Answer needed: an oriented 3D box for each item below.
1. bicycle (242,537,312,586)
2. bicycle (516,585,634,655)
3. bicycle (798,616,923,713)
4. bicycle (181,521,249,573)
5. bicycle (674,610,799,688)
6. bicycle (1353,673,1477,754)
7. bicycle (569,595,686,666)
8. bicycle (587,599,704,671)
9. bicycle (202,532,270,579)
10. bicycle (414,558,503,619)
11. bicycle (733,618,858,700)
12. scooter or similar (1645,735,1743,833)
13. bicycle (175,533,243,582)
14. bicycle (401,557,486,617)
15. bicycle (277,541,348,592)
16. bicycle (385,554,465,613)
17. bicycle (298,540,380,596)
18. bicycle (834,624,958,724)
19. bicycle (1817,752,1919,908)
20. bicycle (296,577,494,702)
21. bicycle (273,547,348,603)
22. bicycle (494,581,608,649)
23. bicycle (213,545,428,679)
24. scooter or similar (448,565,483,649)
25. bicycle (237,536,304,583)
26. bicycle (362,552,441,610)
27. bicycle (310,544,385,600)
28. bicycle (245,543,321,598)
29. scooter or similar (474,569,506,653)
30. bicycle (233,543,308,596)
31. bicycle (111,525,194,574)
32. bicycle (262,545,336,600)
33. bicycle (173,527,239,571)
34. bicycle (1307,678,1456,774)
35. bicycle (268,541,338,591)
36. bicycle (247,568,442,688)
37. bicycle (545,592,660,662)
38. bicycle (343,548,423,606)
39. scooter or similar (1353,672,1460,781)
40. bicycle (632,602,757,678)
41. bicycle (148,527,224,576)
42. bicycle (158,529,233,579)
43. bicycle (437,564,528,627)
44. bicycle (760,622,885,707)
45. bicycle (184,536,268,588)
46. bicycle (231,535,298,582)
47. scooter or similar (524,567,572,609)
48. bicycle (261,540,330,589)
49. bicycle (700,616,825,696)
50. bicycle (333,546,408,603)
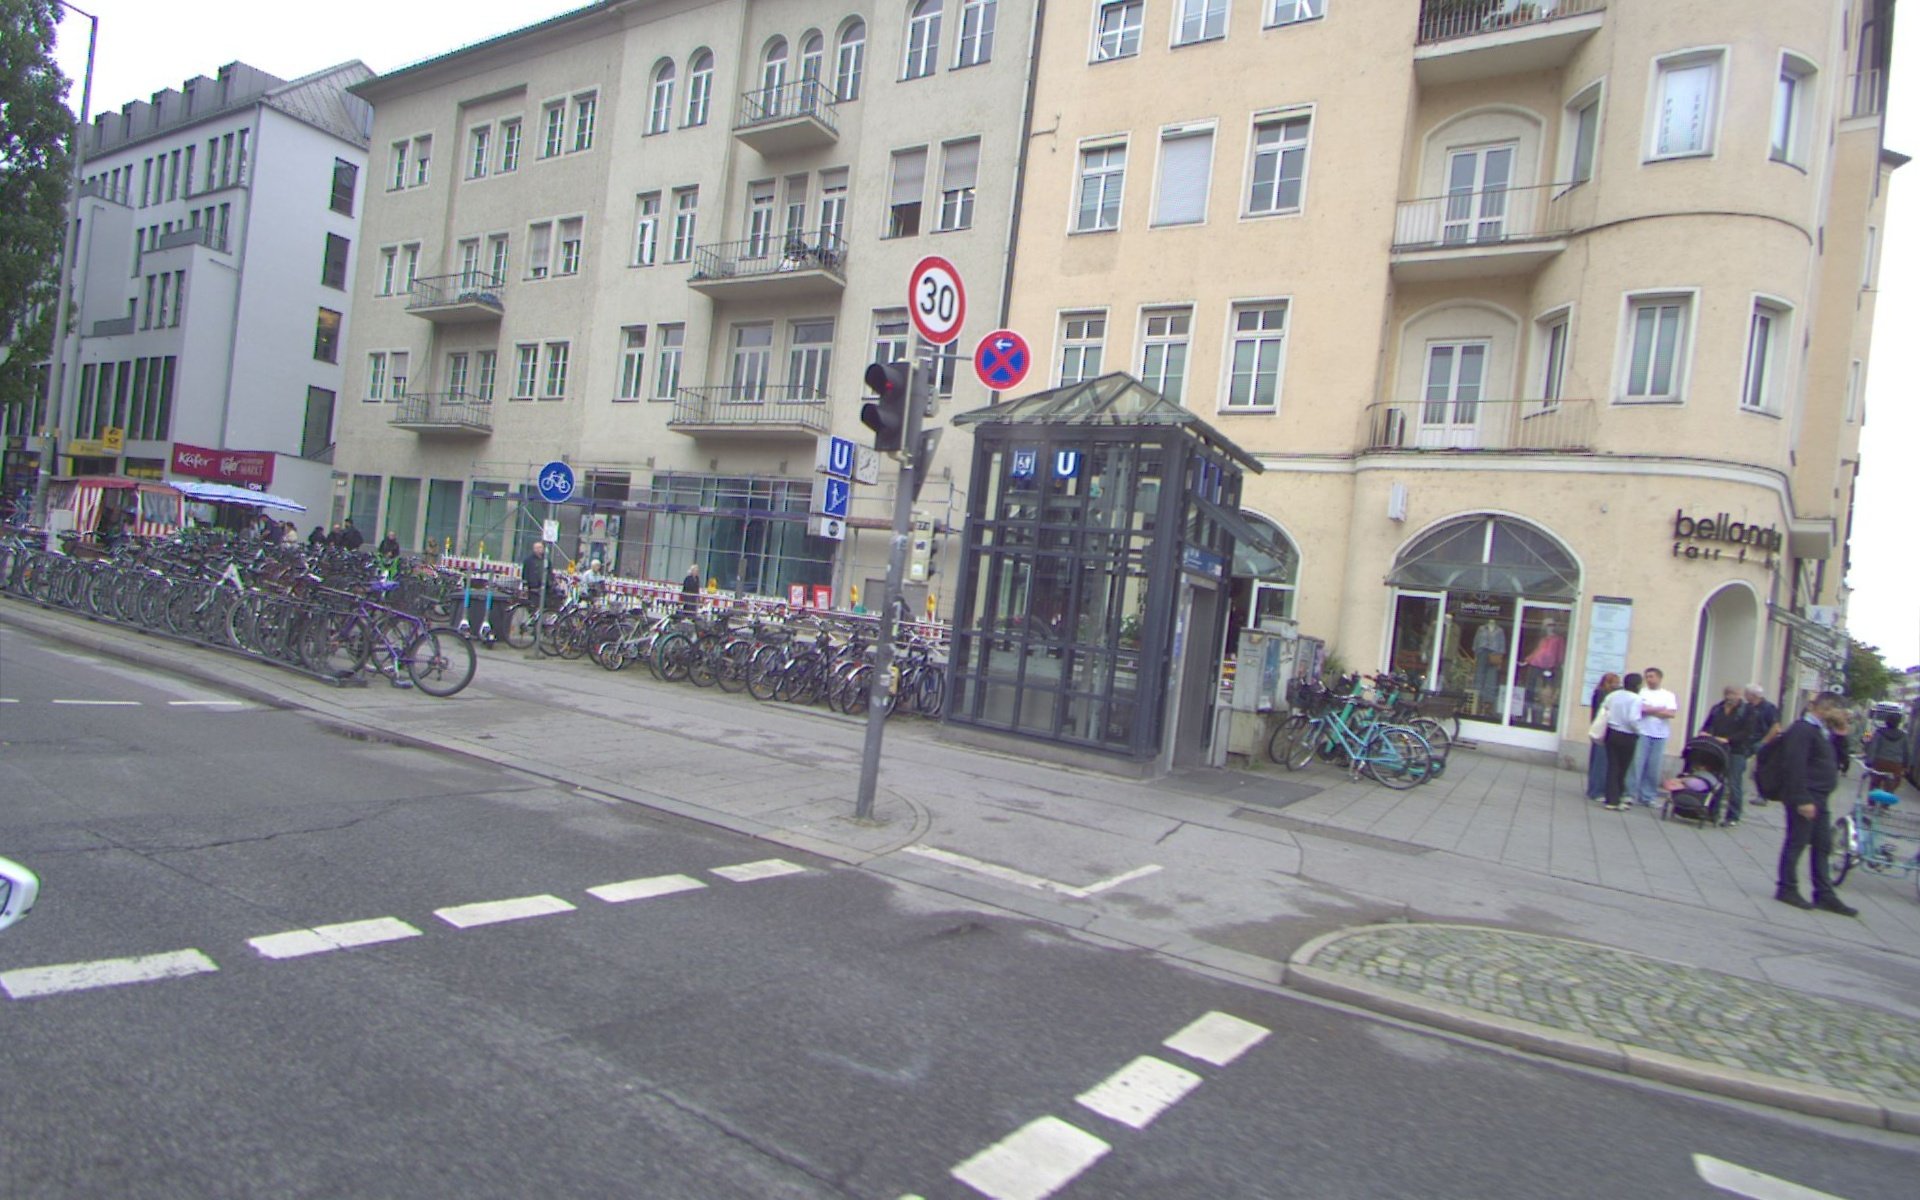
[{"bbox_3d":[-15.867,-0.880,23.398,0.363,0.994,1.246,7,0,29],"label":"bicycle"},{"bbox_3d":[-6.088,0.337,16.015,0.445,0.976,1.756,7,0,32],"label":"bicycle"},{"bbox_3d":[-1.232,0.828,12.862,0.500,1.108,1.840,7,0,30],"label":"bicycle"},{"bbox_3d":[-18.706,-1.318,25.273,0.363,1.154,1.245,7,1,30],"label":"bicycle"},{"bbox_3d":[-3.093,0.706,14.106,0.500,0.976,1.840,7,0,30],"label":"bicycle"},{"bbox_3d":[7.873,1.941,17.455,1.833,1.103,0.495,7,1,26],"label":"bicycle"},{"bbox_3d":[-5.058,0.496,15.415,0.445,0.976,1.757,7,0,30],"label":"bicycle"},{"bbox_3d":[-4.680,0.547,15.088,0.445,0.976,1.757,7,0,30],"label":"bicycle"},{"bbox_3d":[-17.734,-1.073,24.660,0.363,0.994,1.245,7,0,30],"label":"bicycle"},{"bbox_3d":[-10.090,-0.212,20.301,0.443,1.088,1.553,7,0,27],"label":"bicycle"},{"bbox_3d":[-2.160,0.798,13.467,0.500,0.976,1.840,7,0,30],"label":"bicycle"},{"bbox_3d":[8.792,2.196,12.045,0.815,1.007,0.587,7,3,-36],"label":"scooter or similar"},{"bbox_3d":[-16.802,-0.943,22.527,0.362,0.975,1.229,7,0,10],"label":"bicycle"},{"bbox_3d":[-10.539,-0.244,20.564,0.363,1.088,1.554,7,0,25],"label":"bicycle"},{"bbox_3d":[-14.385,-0.726,22.382,0.363,0.994,1.246,7,0,25],"label":"bicycle"},{"bbox_3d":[-11.013,-0.327,20.757,0.363,1.088,1.430,7,0,25],"label":"bicycle"},{"bbox_3d":[-13.724,-0.685,22.285,0.363,1.088,1.504,7,0,25],"label":"bicycle"},{"bbox_3d":[-0.755,0.922,12.586,0.500,1.108,1.840,7,0,30],"label":"bicycle"},{"bbox_3d":[8.682,2.121,9.552,0.516,1.175,1.568,9,2,34],"label":"bicycle"},{"bbox_3d":[-5.656,0.394,10.139,1.575,1.041,0.498,7,1,-11],"label":"bicycle"},{"bbox_3d":[-12.955,-0.492,20.091,0.364,0.975,1.133,8,1,37],"label":"bicycle"},{"bbox_3d":[-6.641,0.266,16.408,0.363,0.976,1.756,7,0,32],"label":"bicycle"},{"bbox_3d":[-6.896,0.137,10.932,1.777,1.213,0.557,7,1,-15],"label":"bicycle"},{"bbox_3d":[-7.690,0.093,15.622,0.360,1.191,1.337,6,1,-27],"label":"scooter or similar"},{"bbox_3d":[-16.312,-0.947,23.826,0.362,0.994,1.247,7,0,23],"label":"bicycle"},{"bbox_3d":[-11.703,-0.379,21.115,0.363,1.088,1.430,7,0,25],"label":"bicycle"},{"bbox_3d":[-13.245,-0.587,21.792,0.363,1.088,1.331,7,0,25],"label":"bicycle"},{"bbox_3d":[-13.872,-0.591,20.638,0.363,0.975,1.181,7,1,36],"label":"bicycle"},{"bbox_3d":[-7.293,0.149,15.595,0.297,1.191,1.268,6,1,-27],"label":"scooter or similar"},{"bbox_3d":[-14.326,-0.627,20.918,0.363,0.975,1.182,7,1,30],"label":"bicycle"},{"bbox_3d":[-19.154,-1.189,23.896,0.364,0.975,1.431,8,1,37],"label":"bicycle"},{"bbox_3d":[-13.328,-0.537,20.306,0.364,0.975,1.133,8,1,37],"label":"bicycle"},{"bbox_3d":[-19.256,-1.290,25.711,0.363,0.975,1.245,7,0,30],"label":"bicycle"},{"bbox_3d":[6.061,1.795,14.546,1.831,1.072,0.496,7,1,17],"label":"bicycle"},{"bbox_3d":[-14.850,-0.758,22.777,0.363,0.994,1.246,7,0,25],"label":"bicycle"},{"bbox_3d":[-6.403,0.291,10.520,1.575,1.041,0.498,7,1,-11],"label":"bicycle"},{"bbox_3d":[-5.582,0.445,15.803,0.445,0.976,1.757,7,0,30],"label":"bicycle"},{"bbox_3d":[-12.230,-0.480,21.359,0.363,1.088,1.430,7,0,25],"label":"bicycle"},{"bbox_3d":[5.849,1.646,13.215,1.133,1.242,0.288,7,1,23],"label":"scooter or similar"},{"bbox_3d":[-3.790,0.603,14.512,0.500,0.976,1.840,7,0,30],"label":"bicycle"},{"bbox_3d":[-17.850,-1.103,23.221,0.363,0.975,1.261,7,1,35],"label":"bicycle"},{"bbox_3d":[-17.448,-1.049,22.975,0.364,0.975,1.259,8,1,41],"label":"bicycle"},{"bbox_3d":[-9.508,-0.073,20.085,0.444,1.088,1.551,7,0,33],"label":"bicycle"},{"bbox_3d":[-1.754,0.844,13.131,0.500,0.976,1.840,7,0,30],"label":"bicycle"},{"bbox_3d":[-15.865,-0.815,21.776,0.363,0.975,1.405,7,0,27],"label":"bicycle"},{"bbox_3d":[-16.690,-0.988,24.149,0.362,0.994,1.247,7,0,23],"label":"bicycle"},{"bbox_3d":[-10.843,-0.319,26.472,1.106,0.956,0.535,7,2,30],"label":"scooter or similar"},{"bbox_3d":[-15.276,-0.805,23.146,0.362,0.994,1.247,7,0,23],"label":"bicycle"},{"bbox_3d":[-2.670,0.781,13.805,0.500,0.976,1.840,7,0,30],"label":"bicycle"},{"bbox_3d":[-12.684,-0.533,21.674,0.363,1.088,1.331,7,0,25],"label":"bicycle"}]
